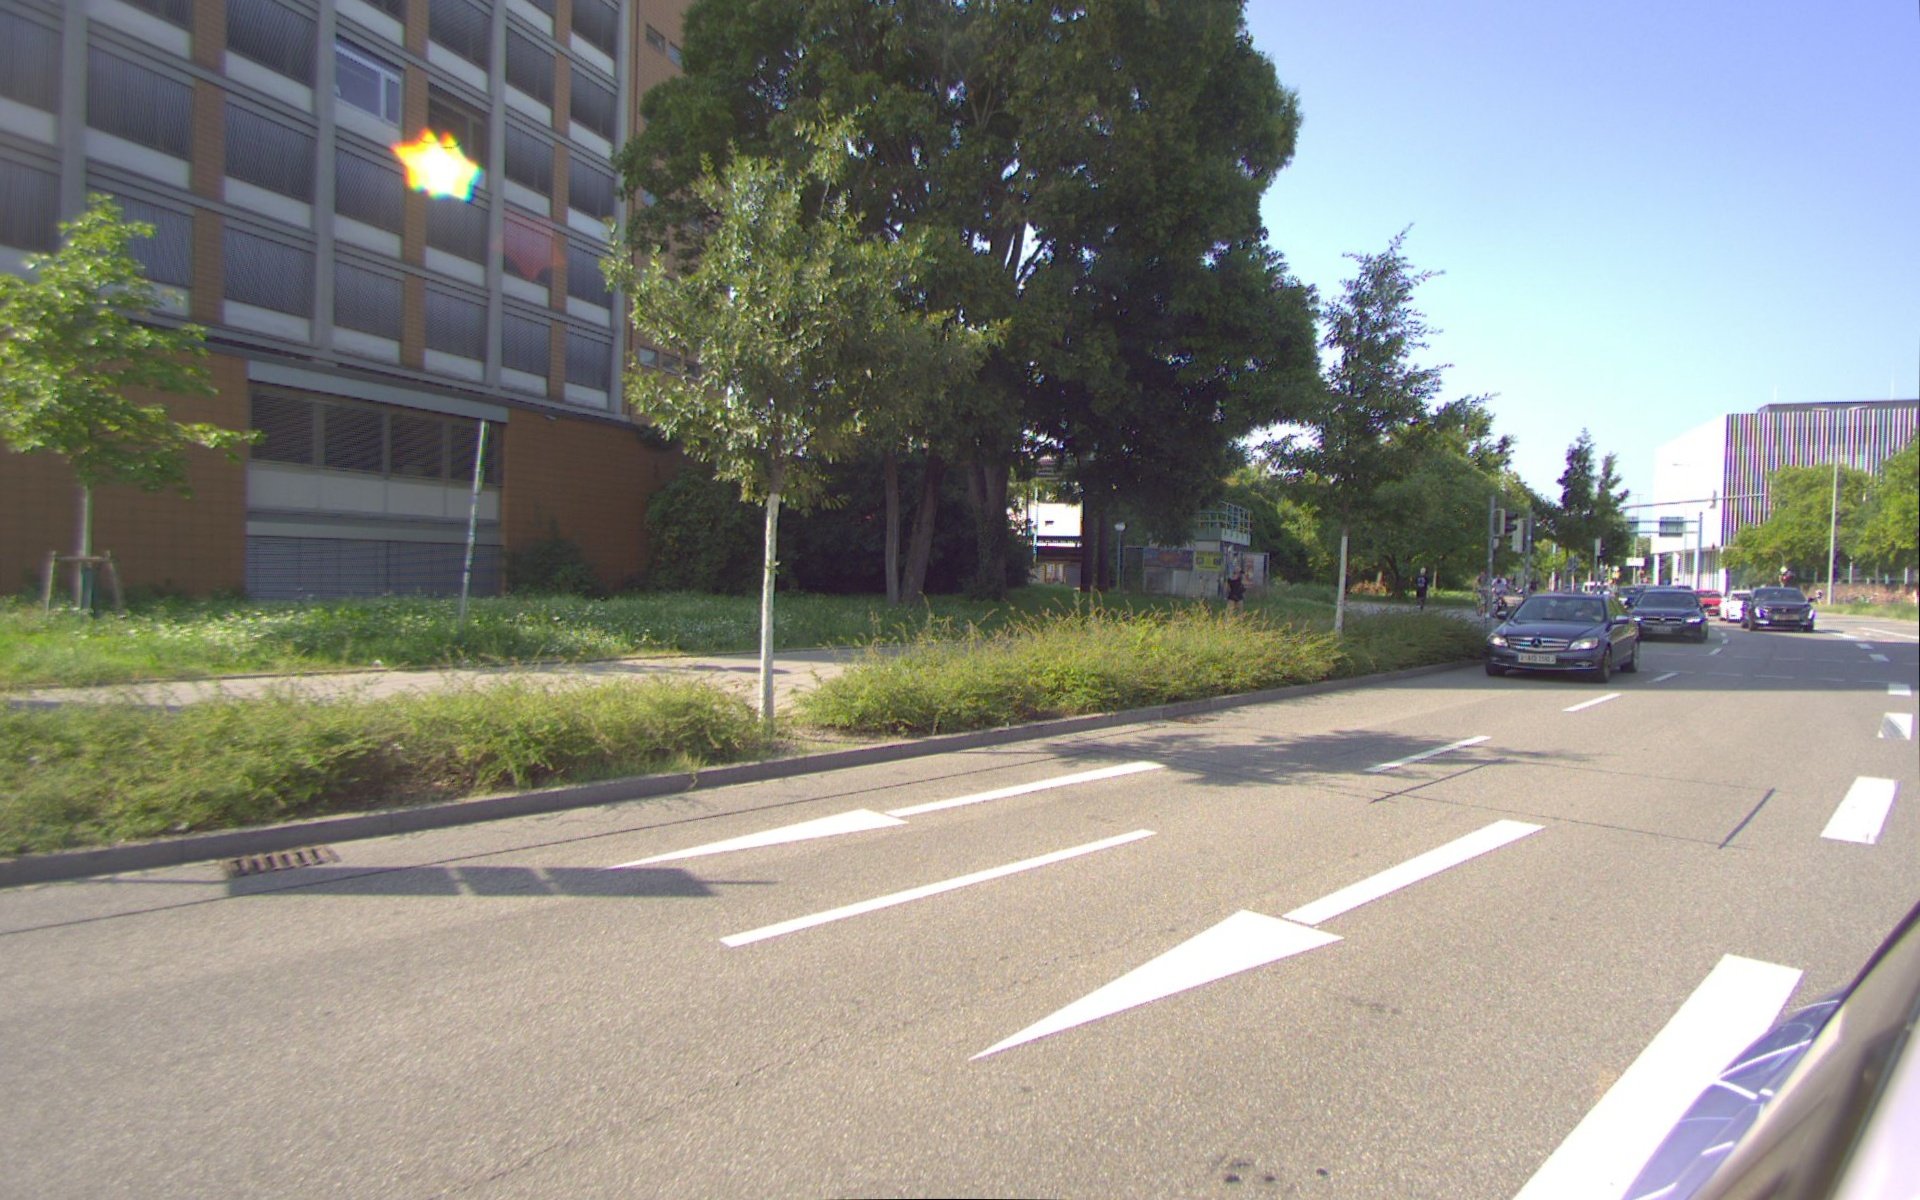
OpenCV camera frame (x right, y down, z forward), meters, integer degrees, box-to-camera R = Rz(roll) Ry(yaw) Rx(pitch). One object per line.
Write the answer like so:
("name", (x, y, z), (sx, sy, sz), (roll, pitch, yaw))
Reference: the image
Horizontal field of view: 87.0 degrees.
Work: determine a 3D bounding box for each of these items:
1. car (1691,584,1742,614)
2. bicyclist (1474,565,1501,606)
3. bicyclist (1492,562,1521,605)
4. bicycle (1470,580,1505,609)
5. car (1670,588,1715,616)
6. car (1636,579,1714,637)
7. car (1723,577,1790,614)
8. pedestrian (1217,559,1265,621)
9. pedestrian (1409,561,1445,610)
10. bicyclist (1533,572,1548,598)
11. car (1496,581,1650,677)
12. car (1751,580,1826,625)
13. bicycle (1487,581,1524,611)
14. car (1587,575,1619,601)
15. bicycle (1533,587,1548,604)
("car", (42.144, -0.081, 56.438), (1.674, 1.510, 4.328), (2, 2, 29))
("bicyclist", (21.284, -0.584, 40.824), (0.770, 1.612, 0.911), (2, 1, 40))
("bicyclist", (21.256, -0.646, 39.371), (0.770, 1.612, 0.910), (3, 2, 41))
("bicycle", (21.321, -0.250, 40.869), (0.770, 1.131, 2.270), (2, 2, 40))
("car", (47.682, 0.161, 65.963), (1.767, 1.714, 4.487), (-1, -1, 28))
("car", (20.669, 0.169, 29.331), (1.677, 1.510, 4.615), (3, 2, 35))
("car", (35.927, -0.243, 45.727), (1.770, 1.501, 4.484), (2, 2, 31))
("pedestrian", (6.805, -0.248, 24.507), (0.842, 1.461, 0.726), (0, 2, -41))
("pedestrian", (17.782, -0.565, 38.537), (0.956, 1.804, 0.989), (5, 3, 39))
("bicyclist", (38.618, -1.015, 67.330), (0.766, 1.697, 0.915), (1, 1, 28))
("car", (10.759, 0.413, 17.630), (1.680, 1.461, 4.309), (0, 0, 40))
("car", (30.382, 0.049, 37.215), (1.677, 1.510, 4.319), (3, 2, 34))
("bicycle", (21.213, -0.168, 39.353), (0.770, 1.131, 2.270), (3, 2, 41))
("car", (52.219, -0.984, 82.264), (1.671, 1.965, 4.333), (2, 2, 26))
("bicycle", (38.596, -0.309, 67.336), (0.766, 1.131, 2.281), (2, 2, 28))
